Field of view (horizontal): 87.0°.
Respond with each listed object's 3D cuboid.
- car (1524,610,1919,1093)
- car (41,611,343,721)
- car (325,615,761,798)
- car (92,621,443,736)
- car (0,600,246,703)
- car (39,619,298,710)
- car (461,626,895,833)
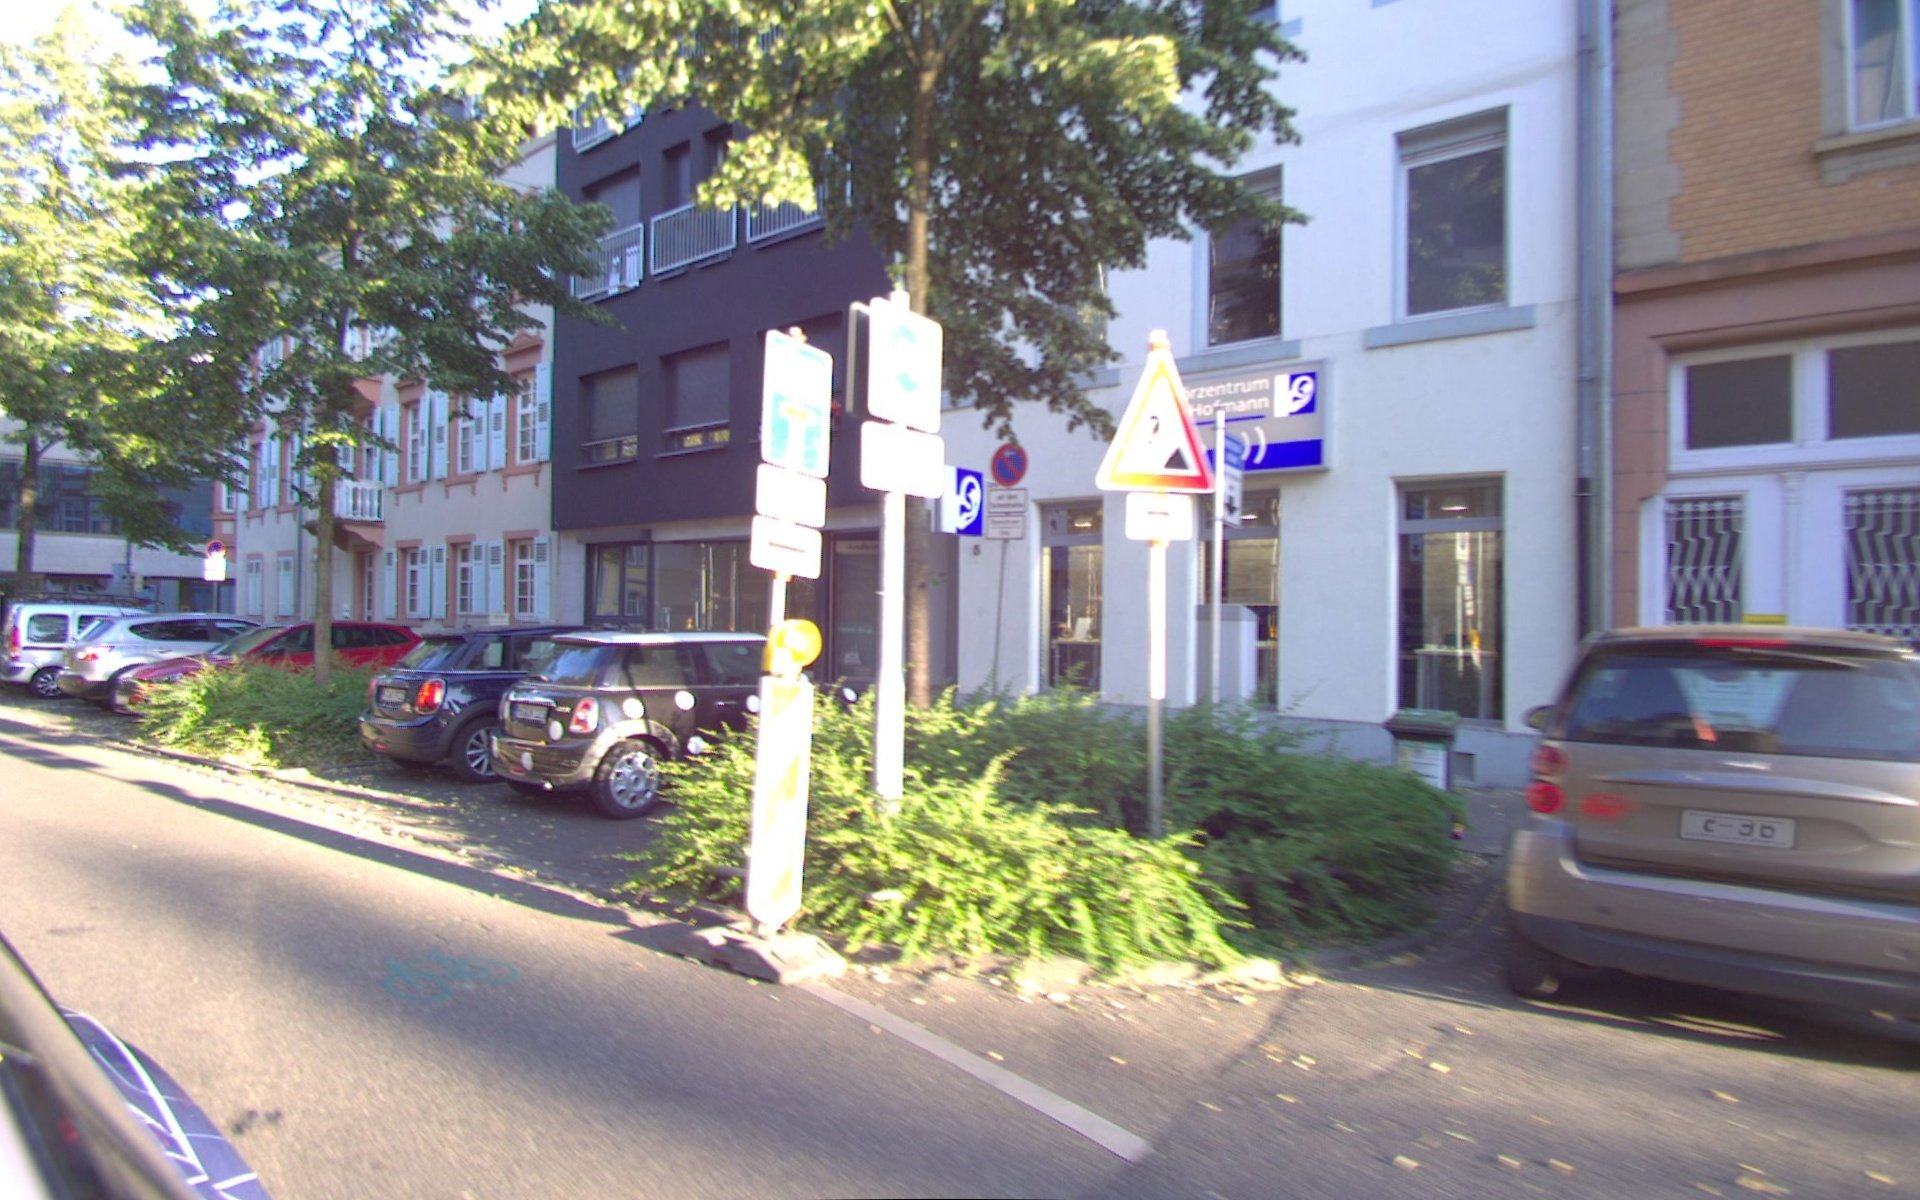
[{"bbox_3d":[3.567,0.875,4.530,1.568,1.532,2.671,-2,-4,34],"label":"car"},{"bbox_3d":[-12.803,1.002,17.031,1.740,1.597,3.786,0,0,40],"label":"car"},{"bbox_3d":[-4.185,0.933,10.648,1.854,1.529,3.855,-1,-1,38],"label":"car"},{"bbox_3d":[-10.598,1.103,15.810,1.758,1.528,4.172,0,-1,34],"label":"car"},{"bbox_3d":[-16.734,0.974,20.180,1.699,1.863,3.770,-1,-2,41],"label":"car"},{"bbox_3d":[-14.813,1.143,19.063,1.649,1.526,3.610,-1,-2,43],"label":"car"},{"bbox_3d":[-2.343,0.960,8.970,1.685,1.402,3.362,-1,-1,40],"label":"car"}]
